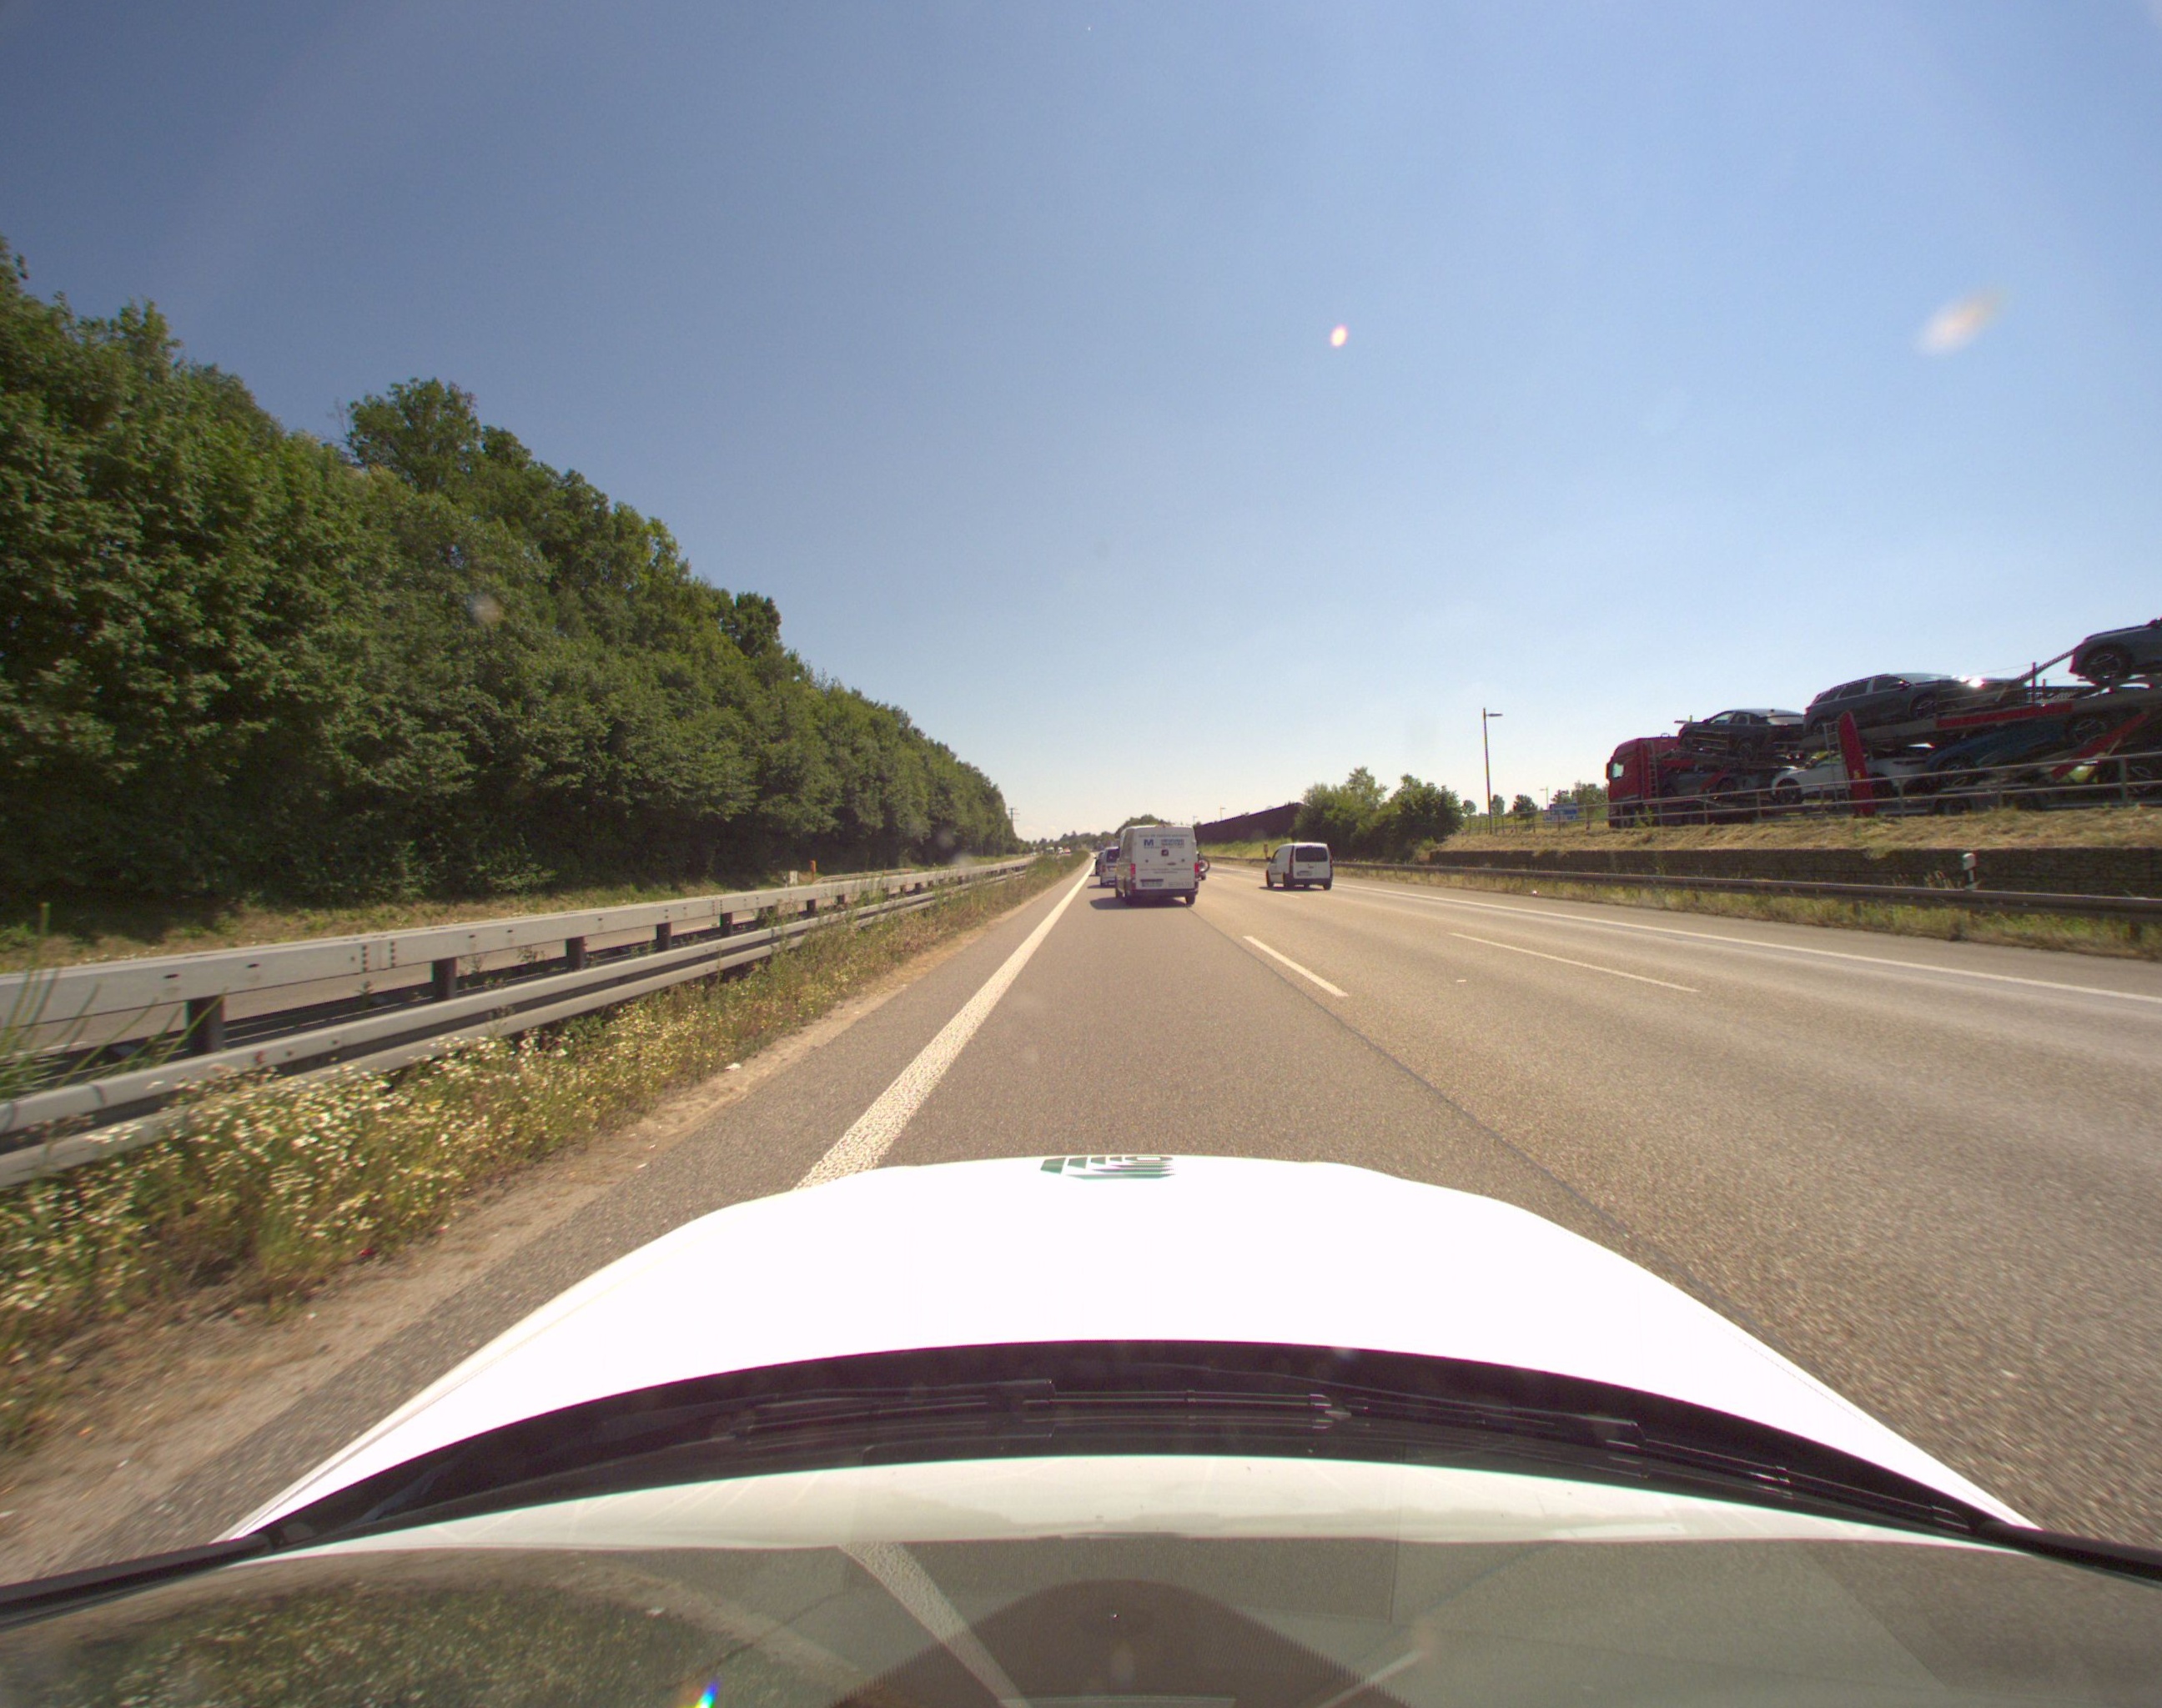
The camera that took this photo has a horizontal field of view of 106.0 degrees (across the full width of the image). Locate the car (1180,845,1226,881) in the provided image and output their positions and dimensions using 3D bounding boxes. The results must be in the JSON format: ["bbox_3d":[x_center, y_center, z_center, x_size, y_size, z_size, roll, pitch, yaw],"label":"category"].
[{"bbox_3d":[6.371,0.486,42.824,1.967,1.733,4.092,-2,-1,3],"label":"car"}]

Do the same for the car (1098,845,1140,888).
[{"bbox_3d":[1.734,0.547,36.602,1.737,1.764,4.092,-2,-1,3],"label":"car"}]

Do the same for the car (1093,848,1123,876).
[{"bbox_3d":[1.787,0.507,53.134,1.737,1.701,4.092,-2,-1,4],"label":"car"}]

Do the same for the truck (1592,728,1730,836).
[{"bbox_3d":[22.496,-2.666,31.827,2.592,3.827,4.001,0,-1,2],"label":"truck"}]

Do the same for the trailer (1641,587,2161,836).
[{"bbox_3d":[22.117,-2.910,21.477,2.595,4.258,18.429,0,-1,2],"label":"trailer"}]

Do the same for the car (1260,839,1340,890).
[{"bbox_3d":[8.595,0.412,32.292,1.944,1.838,4.177,-2,-1,-1],"label":"car"}]

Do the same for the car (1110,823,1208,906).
[{"bbox_3d":[2.226,0.308,24.881,2.177,2.254,5.356,-1,-1,-3],"label":"car"}]
